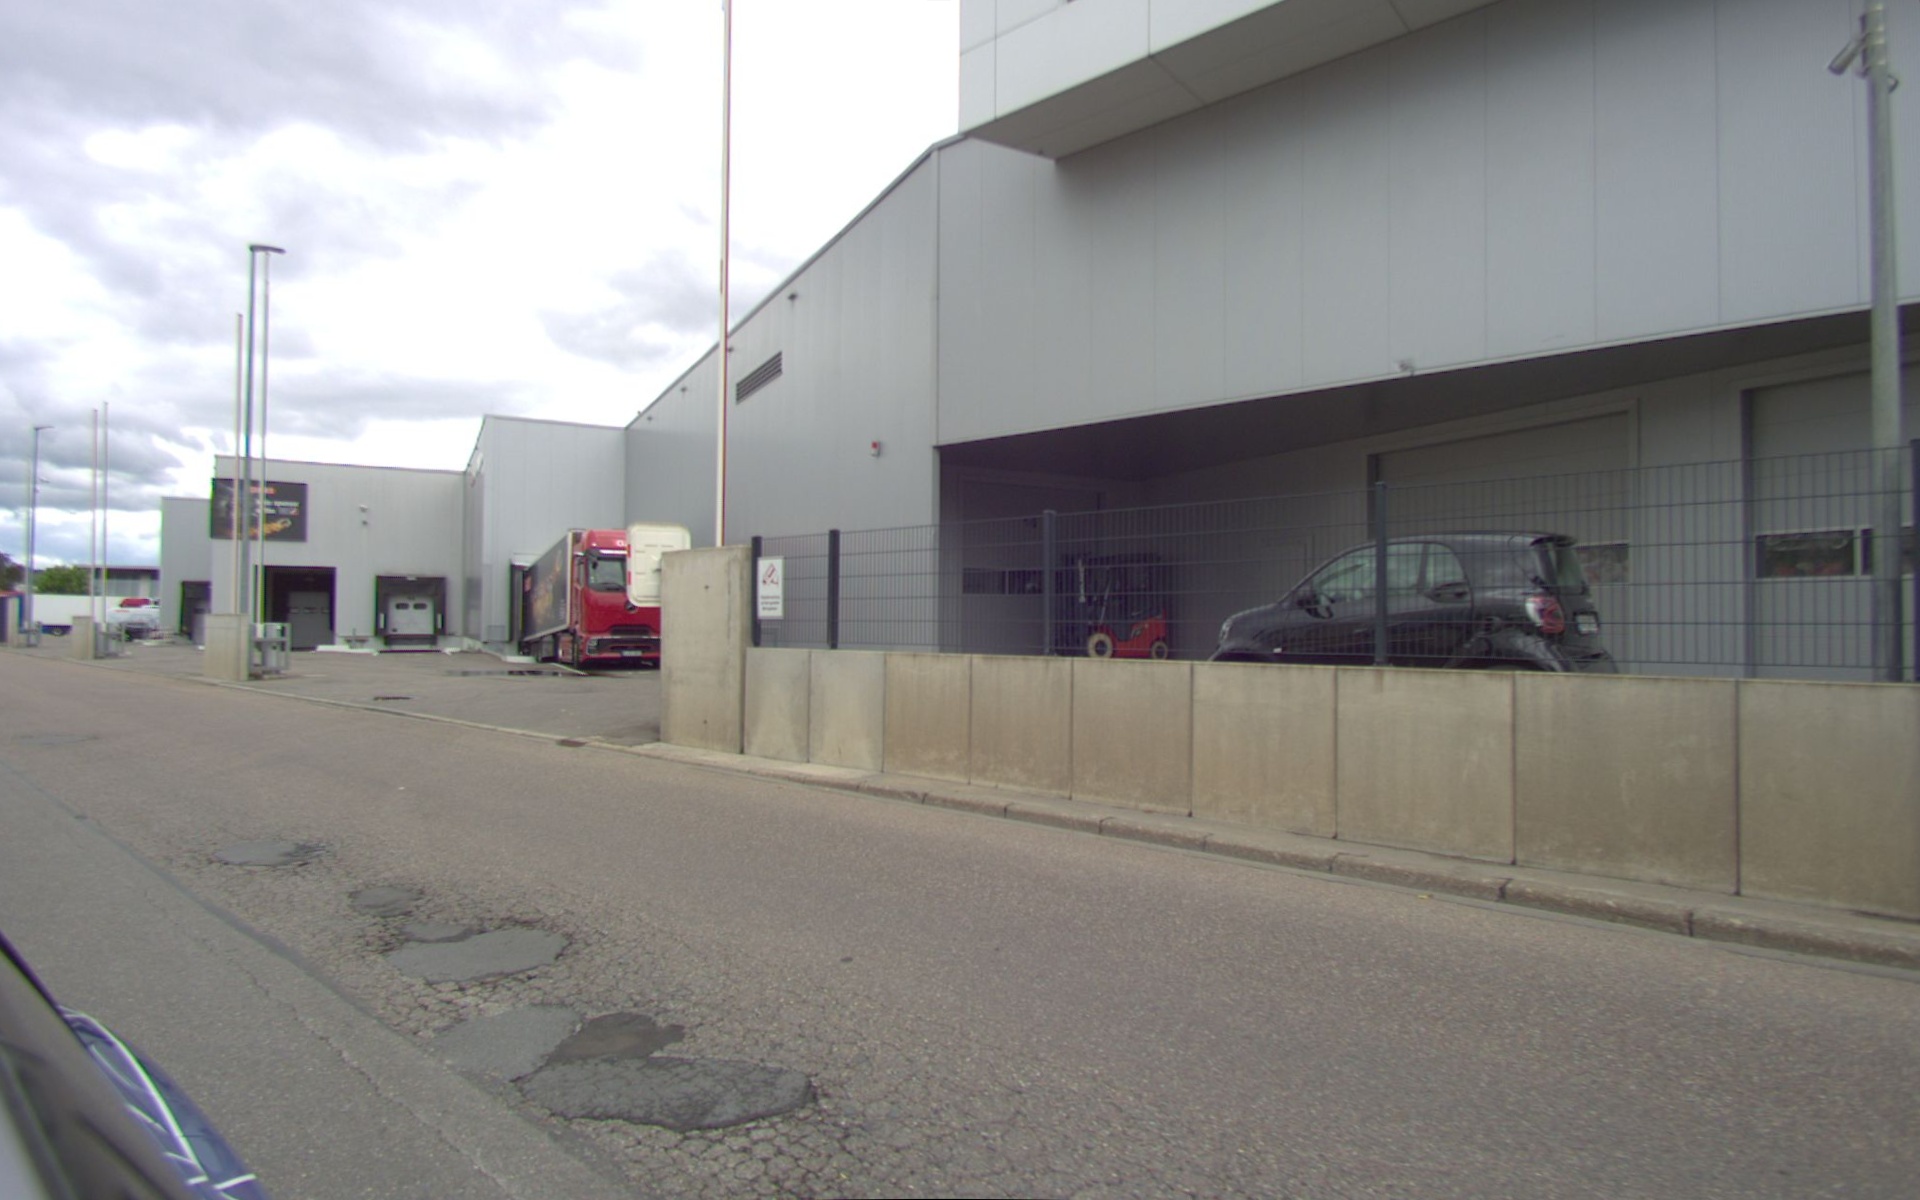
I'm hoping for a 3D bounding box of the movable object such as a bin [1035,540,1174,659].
[{"bbox_3d":[2.884,0.039,20.296,2.117,2.239,1.758,2,-2,-27],"label":"movable object such as a bin"}]

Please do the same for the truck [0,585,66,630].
[{"bbox_3d":[-91.647,0.793,99.708,3.047,4.164,4.815,-1,-4,41],"label":"truck"}]

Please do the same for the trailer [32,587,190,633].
[{"bbox_3d":[-86.578,1.123,103.605,11.842,4.164,3.057,3,-4,-31],"label":"trailer"}]

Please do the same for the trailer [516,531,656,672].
[{"bbox_3d":[-13.417,0.206,35.418,2.704,4.062,12.656,0,-2,-29],"label":"trailer"}]

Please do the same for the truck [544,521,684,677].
[{"bbox_3d":[-10.456,0.066,30.094,2.704,4.062,7.114,0,-2,-29],"label":"truck"}]

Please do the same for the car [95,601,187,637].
[{"bbox_3d":[-64.294,1.475,79.616,5.341,2.751,2.248,-1,-2,-31],"label":"car"}]

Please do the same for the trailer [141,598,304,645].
[{"bbox_3d":[-75.341,2.289,103.860,12.962,4.245,3.058,3,-3,-27],"label":"trailer"}]

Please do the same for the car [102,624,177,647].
[{"bbox_3d":[-61.244,2.613,75.631,4.010,1.589,1.950,-1,-1,-28],"label":"car"}]

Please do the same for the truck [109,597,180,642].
[{"bbox_3d":[-81.194,1.992,100.843,4.797,4.237,3.058,3,-3,-27],"label":"truck"}]

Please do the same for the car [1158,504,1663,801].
[{"bbox_3d":[3.329,0.330,7.741,3.178,1.775,1.633,-1,-1,42],"label":"car"}]
